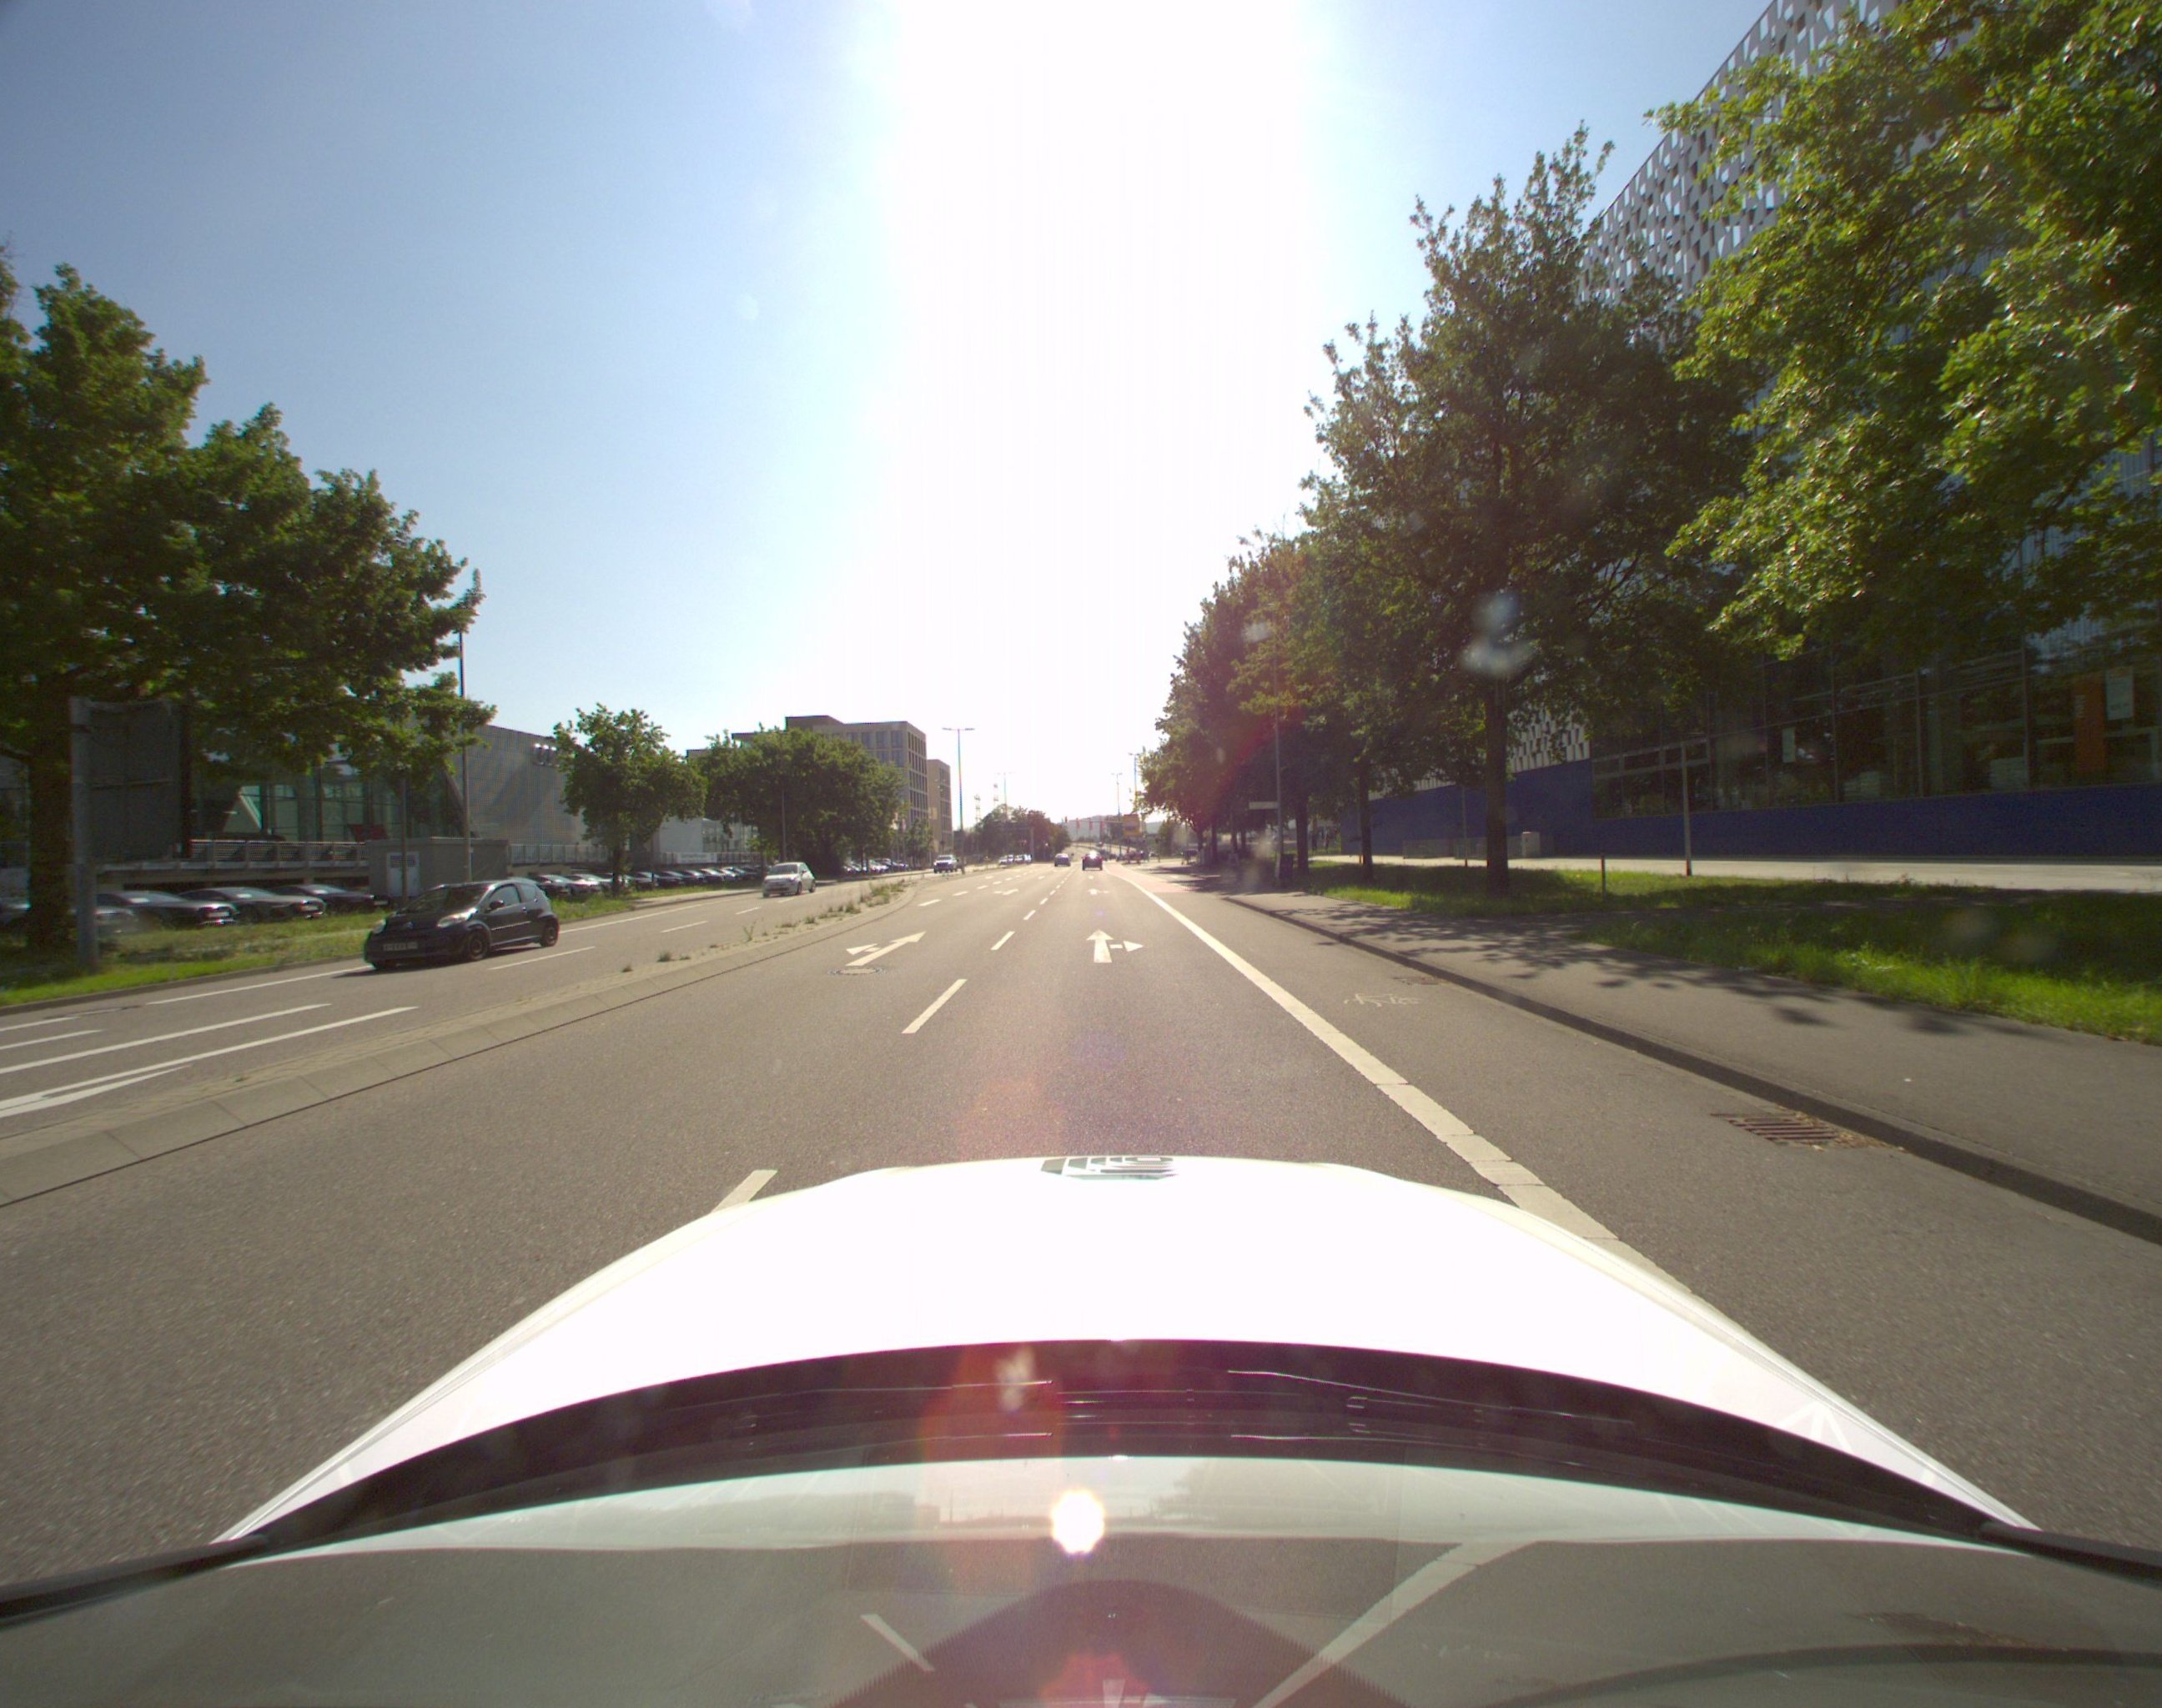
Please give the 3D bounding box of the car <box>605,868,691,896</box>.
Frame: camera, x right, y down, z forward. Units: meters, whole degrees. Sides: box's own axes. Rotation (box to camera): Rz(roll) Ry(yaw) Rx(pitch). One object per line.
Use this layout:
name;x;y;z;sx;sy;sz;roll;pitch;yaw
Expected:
car;-25.566;1.637;48.191;3.972;1.376;1.925;-2;0;1

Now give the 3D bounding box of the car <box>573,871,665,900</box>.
car;-25.737;1.756;45.481;3.972;1.376;1.925;-2;0;1

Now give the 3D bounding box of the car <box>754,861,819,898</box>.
car;-13.385;1.114;37.199;1.649;1.464;3.548;-4;0;-1

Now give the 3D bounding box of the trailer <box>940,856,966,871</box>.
trailer;-13.908;1.001;88.945;1.988;1.453;5.770;-2;0;-1

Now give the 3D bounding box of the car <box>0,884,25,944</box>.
car;-26.640;1.456;17.976;4.248;1.350;1.956;-2;0;3

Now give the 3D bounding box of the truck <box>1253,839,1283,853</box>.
truck;32.229;-1.419;140.563;4.855;2.423;2.004;0;1;6

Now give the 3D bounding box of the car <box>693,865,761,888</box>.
car;-25.283;1.604;58.214;3.972;1.376;1.925;-2;0;1

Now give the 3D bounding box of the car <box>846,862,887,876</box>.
car;-24.065;1.696;91.380;3.974;1.343;2.000;-2;0;0

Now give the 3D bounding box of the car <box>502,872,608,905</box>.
car;-25.826;1.683;40.069;3.972;1.376;1.866;-2;0;1

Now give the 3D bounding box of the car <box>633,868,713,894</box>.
car;-25.510;1.656;50.969;3.972;1.376;1.925;-2;0;1

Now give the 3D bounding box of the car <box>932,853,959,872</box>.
car;-13.846;0.823;83.571;1.988;1.832;4.935;-2;0;-1

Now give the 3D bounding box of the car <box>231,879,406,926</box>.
car;-26.259;1.652;28.152;4.248;1.350;1.956;-2;0;3

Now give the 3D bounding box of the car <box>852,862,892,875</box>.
car;-24.051;1.663;93.770;3.974;1.343;2.000;-2;0;0

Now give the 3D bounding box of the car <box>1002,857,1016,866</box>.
car;-12.832;1.367;145.217;1.807;1.464;4.006;-3;0;6

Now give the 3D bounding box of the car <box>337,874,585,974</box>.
car;-11.446;1.200;15.457;1.780;1.414;3.993;-4;0;-5

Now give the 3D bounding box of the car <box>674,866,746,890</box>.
car;-25.333;1.631;55.747;3.972;1.376;1.925;-2;0;1

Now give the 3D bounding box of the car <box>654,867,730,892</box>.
car;-25.349;1.639;53.203;3.972;1.376;1.925;-2;0;1

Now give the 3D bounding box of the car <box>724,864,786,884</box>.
car;-25.186;1.533;62.990;3.972;1.376;1.925;-2;0;1

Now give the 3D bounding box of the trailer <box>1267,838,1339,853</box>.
trailer;38.051;-1.441;140.128;11.815;2.469;2.003;0;1;5

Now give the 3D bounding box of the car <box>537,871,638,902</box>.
car;-25.925;1.691;42.883;4.027;1.376;2.026;-2;0;1

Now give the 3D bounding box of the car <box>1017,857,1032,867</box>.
car;-9.677;1.335;138.871;1.807;1.464;4.006;-3;0;6

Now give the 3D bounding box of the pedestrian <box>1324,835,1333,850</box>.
pedestrian;30.960;-1.438;101.900;0.627;1.770;0.803;-3;0;-9

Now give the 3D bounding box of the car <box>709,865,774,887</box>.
car;-25.144;1.605;60.397;3.972;1.376;1.925;-2;0;1

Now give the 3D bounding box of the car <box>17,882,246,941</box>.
car;-26.582;1.586;22.896;4.248;1.350;1.956;-2;0;3

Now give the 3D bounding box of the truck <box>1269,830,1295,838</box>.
truck;49.798;-4.930;201.823;5.884;2.013;2.002;0;1;3

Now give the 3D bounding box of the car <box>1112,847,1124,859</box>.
car;6.000;-0.193;131.848;1.753;1.758;3.601;0;1;-2

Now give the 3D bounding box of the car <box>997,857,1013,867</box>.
car;-12.868;1.372;137.728;1.882;1.464;4.006;-3;0;6

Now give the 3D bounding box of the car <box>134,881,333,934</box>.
car;-26.448;1.650;25.522;4.248;1.350;1.956;-2;0;3

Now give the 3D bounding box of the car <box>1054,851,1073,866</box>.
car;-2.106;0.474;96.989;1.986;1.684;4.002;-2;0;2

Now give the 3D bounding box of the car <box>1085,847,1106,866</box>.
car;1.302;0.231;75.442;1.801;1.640;4.458;-3;0;0

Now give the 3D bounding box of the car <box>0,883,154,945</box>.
car;-26.544;1.530;20.504;4.248;1.350;1.956;-2;0;3

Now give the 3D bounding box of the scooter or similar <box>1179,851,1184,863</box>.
scooter or similar;10.742;0.338;86.893;0.348;1.233;1.316;-3;0;15
